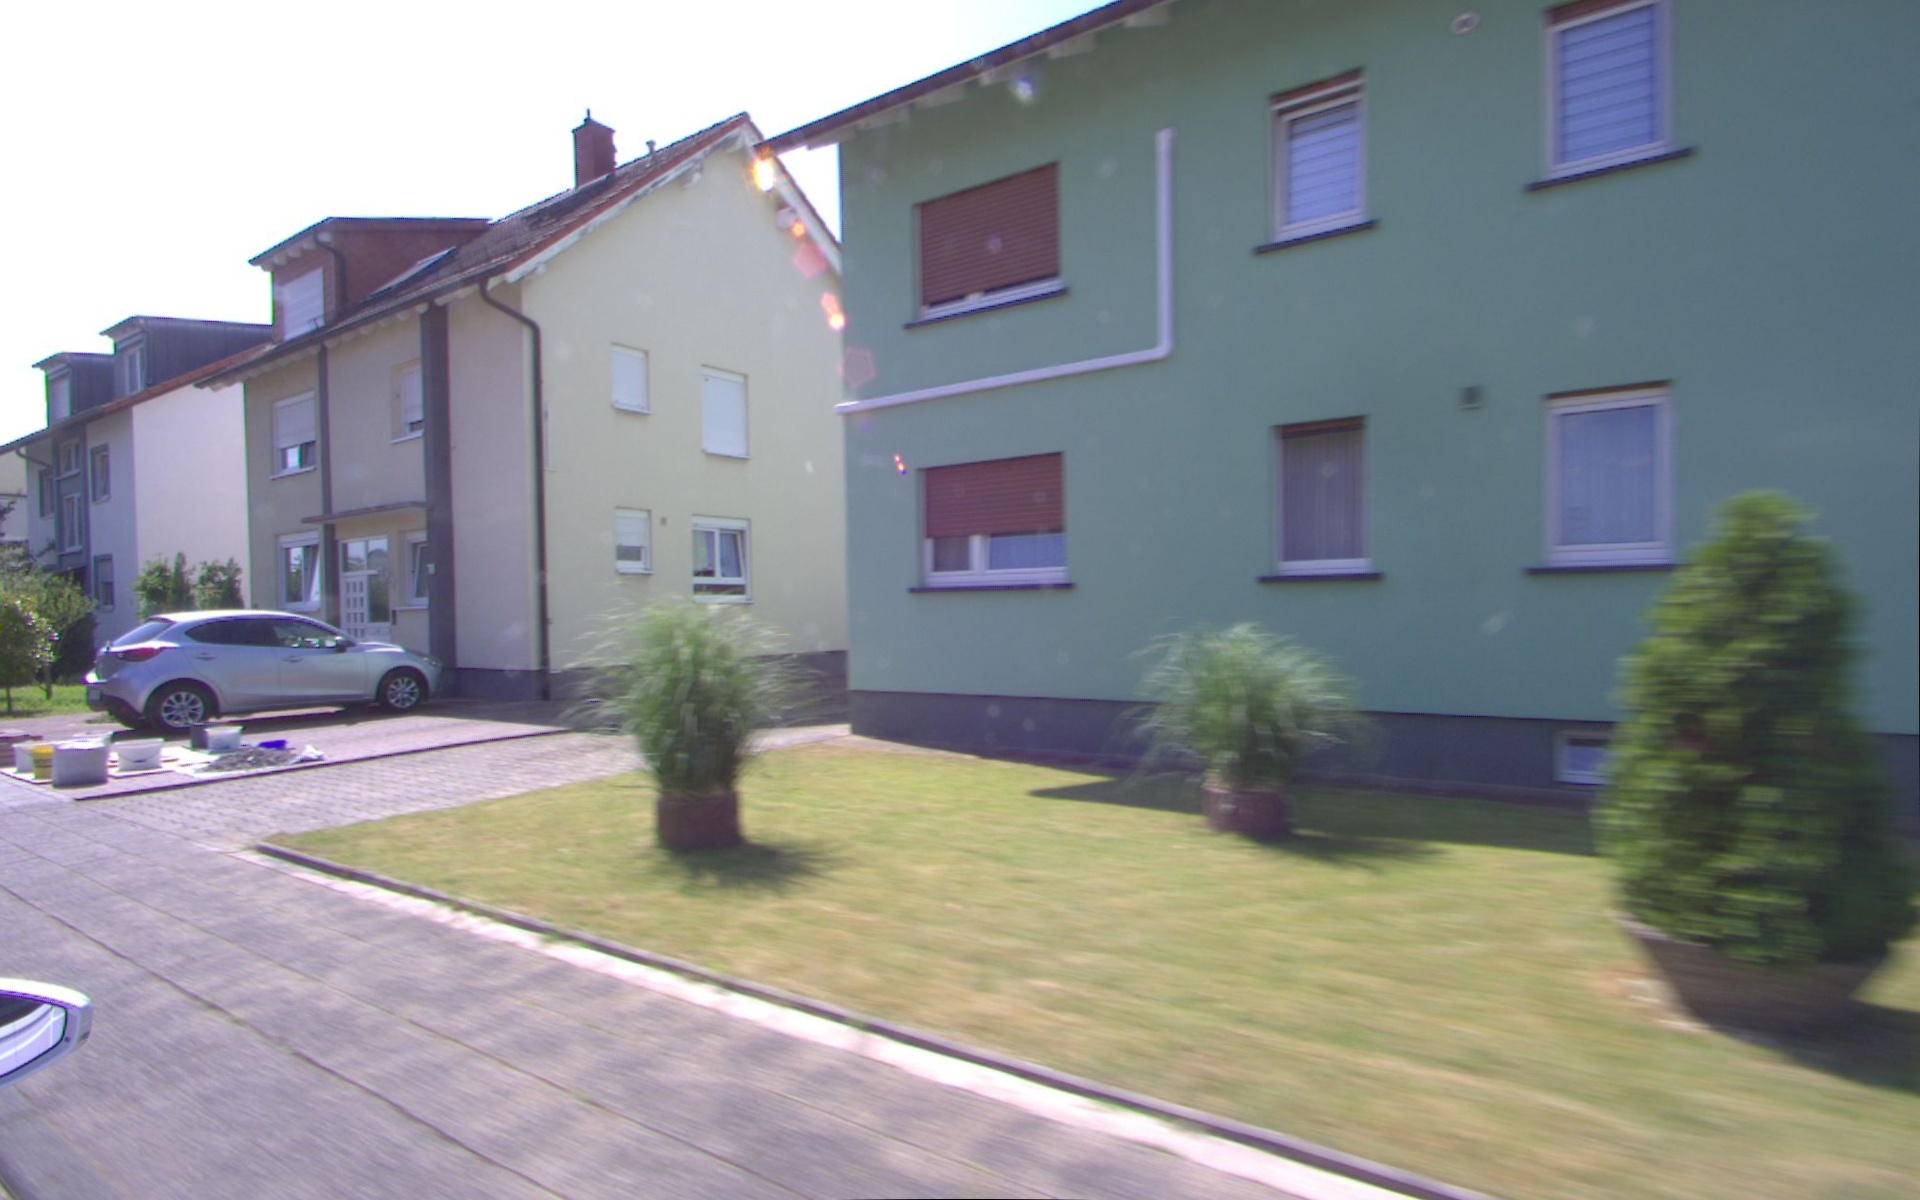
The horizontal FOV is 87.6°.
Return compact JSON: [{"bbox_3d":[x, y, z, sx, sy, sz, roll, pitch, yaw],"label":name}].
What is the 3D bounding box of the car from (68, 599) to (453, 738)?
[{"bbox_3d":[-9.283,0.795,13.588,1.750,1.530,3.901,-1,1,35],"label":"car"}]
